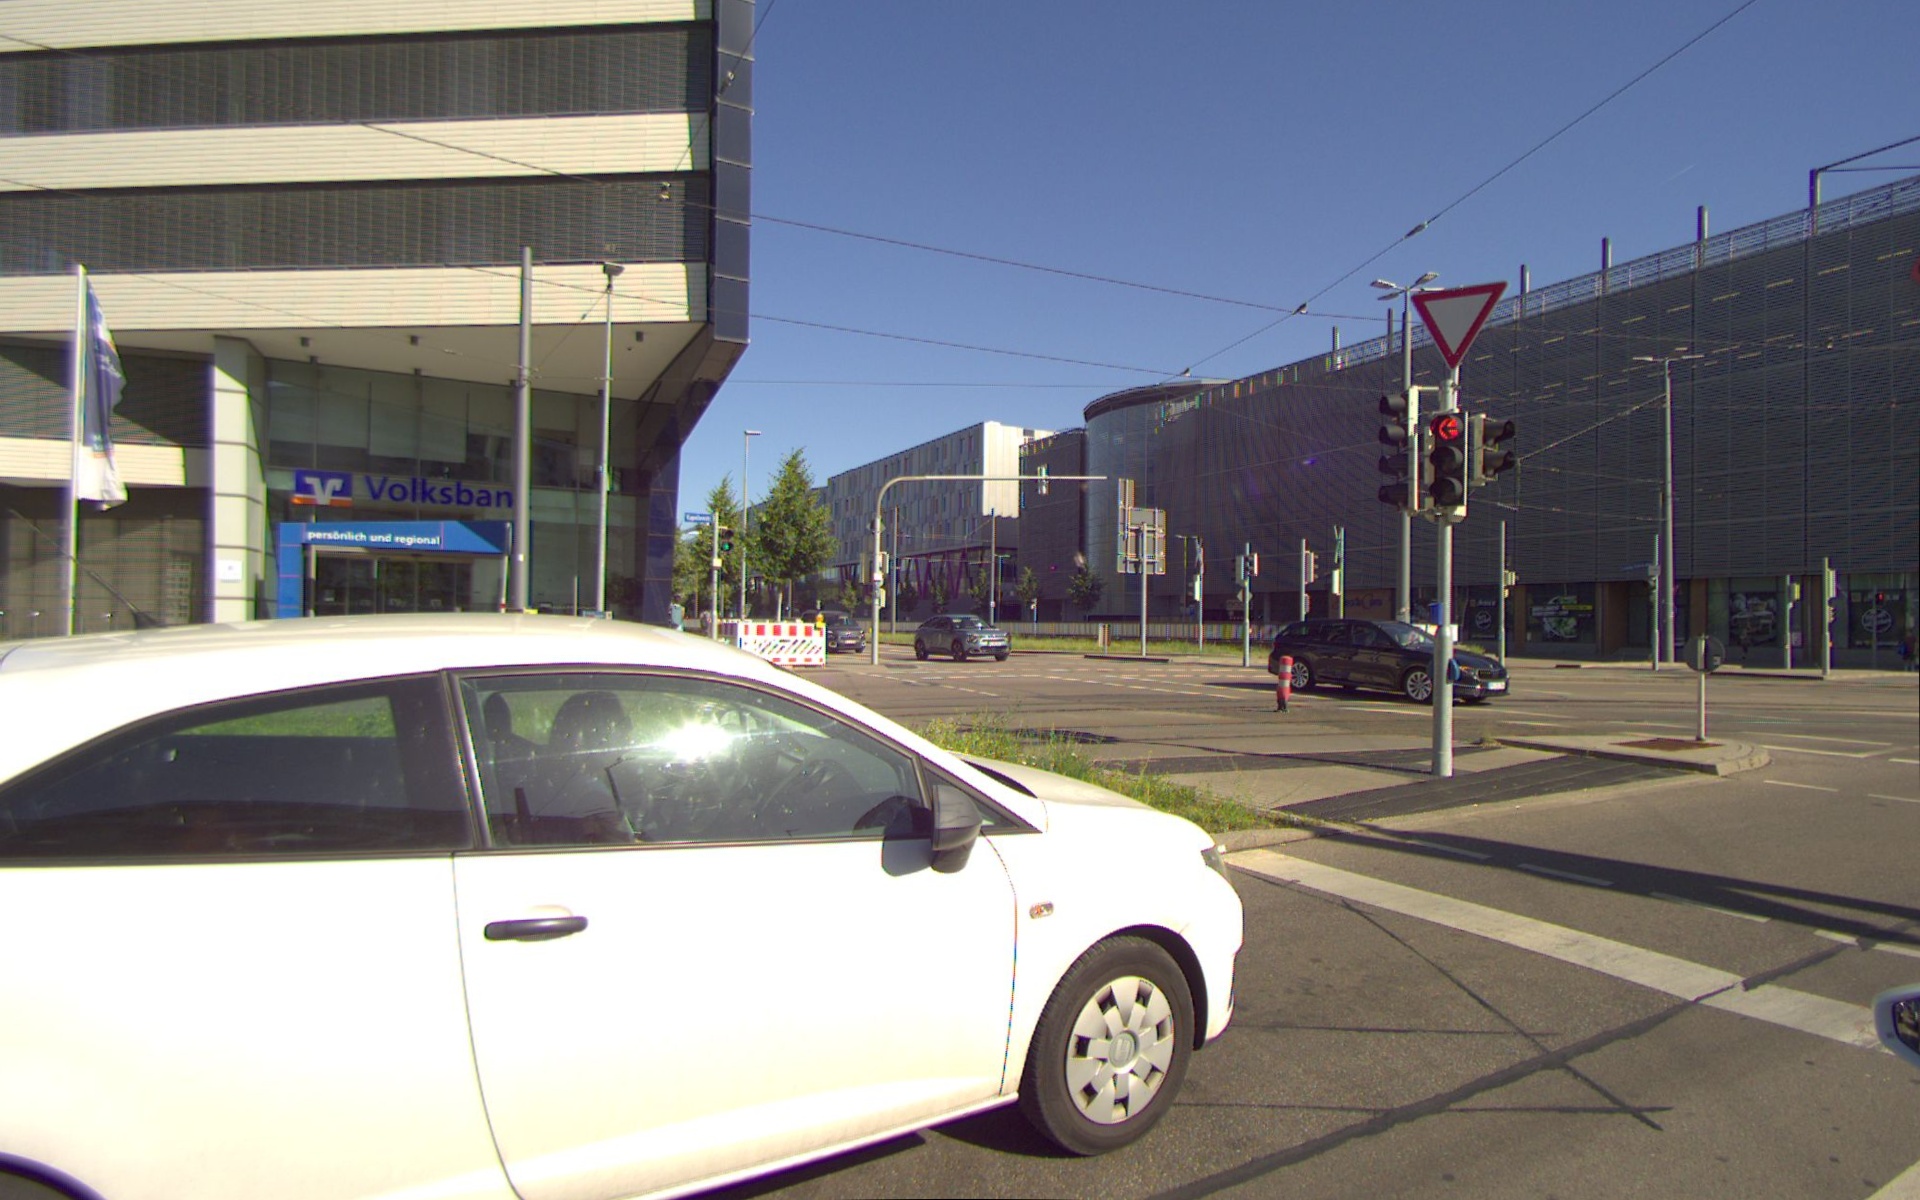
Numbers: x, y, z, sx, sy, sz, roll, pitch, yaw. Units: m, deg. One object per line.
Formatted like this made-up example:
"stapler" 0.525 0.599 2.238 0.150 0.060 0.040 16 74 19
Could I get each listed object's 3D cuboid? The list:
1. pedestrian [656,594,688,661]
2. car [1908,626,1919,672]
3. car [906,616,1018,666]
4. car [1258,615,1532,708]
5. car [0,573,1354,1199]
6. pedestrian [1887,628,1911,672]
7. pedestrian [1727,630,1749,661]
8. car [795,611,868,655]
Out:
"pedestrian" -7.431 0.714 25.914 0.729 1.719 0.805 0 -2 -20
"car" 37.205 1.941 35.999 1.819 1.666 4.268 2 2 -30
"car" -0.010 1.306 33.057 1.690 1.534 4.241 1 -1 -32
"car" 8.094 1.070 19.191 1.812 1.481 4.645 1 0 -31
"car" -0.959 0.738 2.789 3.977 1.460 1.723 2 1 -31
"pedestrian" 39.965 2.121 42.729 0.687 1.821 0.726 -2 -3 44
"pedestrian" 41.773 2.432 53.930 0.584 1.622 0.661 2 0 -11
"car" -5.637 1.395 43.612 1.688 1.815 4.440 1 -1 -28
